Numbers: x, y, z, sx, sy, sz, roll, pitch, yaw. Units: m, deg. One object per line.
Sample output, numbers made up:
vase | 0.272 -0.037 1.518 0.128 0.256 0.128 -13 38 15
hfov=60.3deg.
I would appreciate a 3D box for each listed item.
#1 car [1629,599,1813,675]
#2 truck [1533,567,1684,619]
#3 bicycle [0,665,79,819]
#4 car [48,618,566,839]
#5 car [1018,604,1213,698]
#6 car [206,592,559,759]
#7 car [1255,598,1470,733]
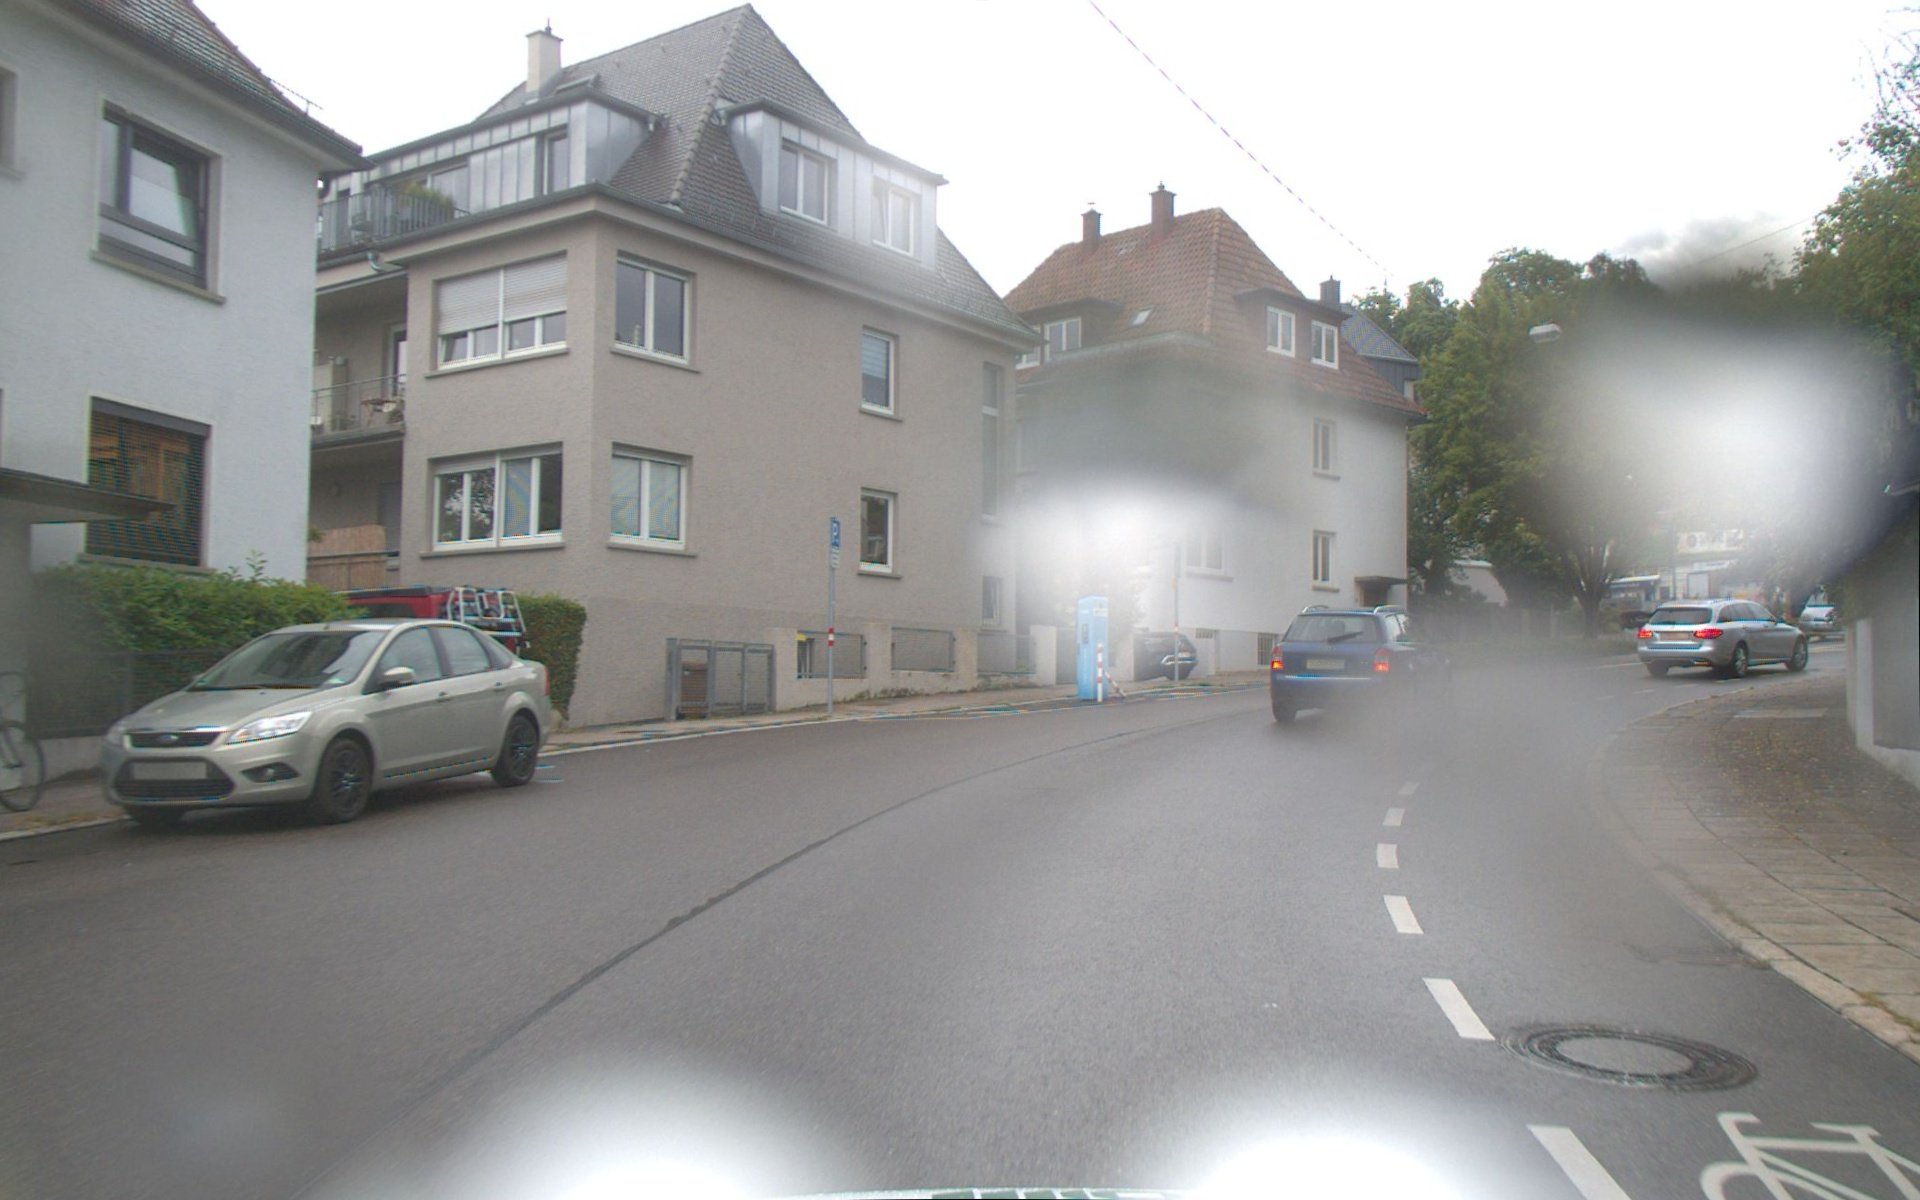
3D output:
car | 14.940 0.694 32.398 3.962 1.384 1.791 0 0 -40
truck | 29.899 -0.322 76.533 2.279 2.309 6.752 0 0 -26
bicycle | -7.245 1.055 11.976 0.446 1.086 1.923 0 0 9
car | -4.988 0.904 13.362 1.797 1.450 4.233 -1 0 13
car | 3.614 1.214 38.933 1.985 1.651 4.185 0 -8 -44
car | -7.561 0.978 21.741 3.904 1.854 2.001 -5 -2 19
car | 5.289 0.756 21.359 1.776 1.464 4.077 1 1 27
